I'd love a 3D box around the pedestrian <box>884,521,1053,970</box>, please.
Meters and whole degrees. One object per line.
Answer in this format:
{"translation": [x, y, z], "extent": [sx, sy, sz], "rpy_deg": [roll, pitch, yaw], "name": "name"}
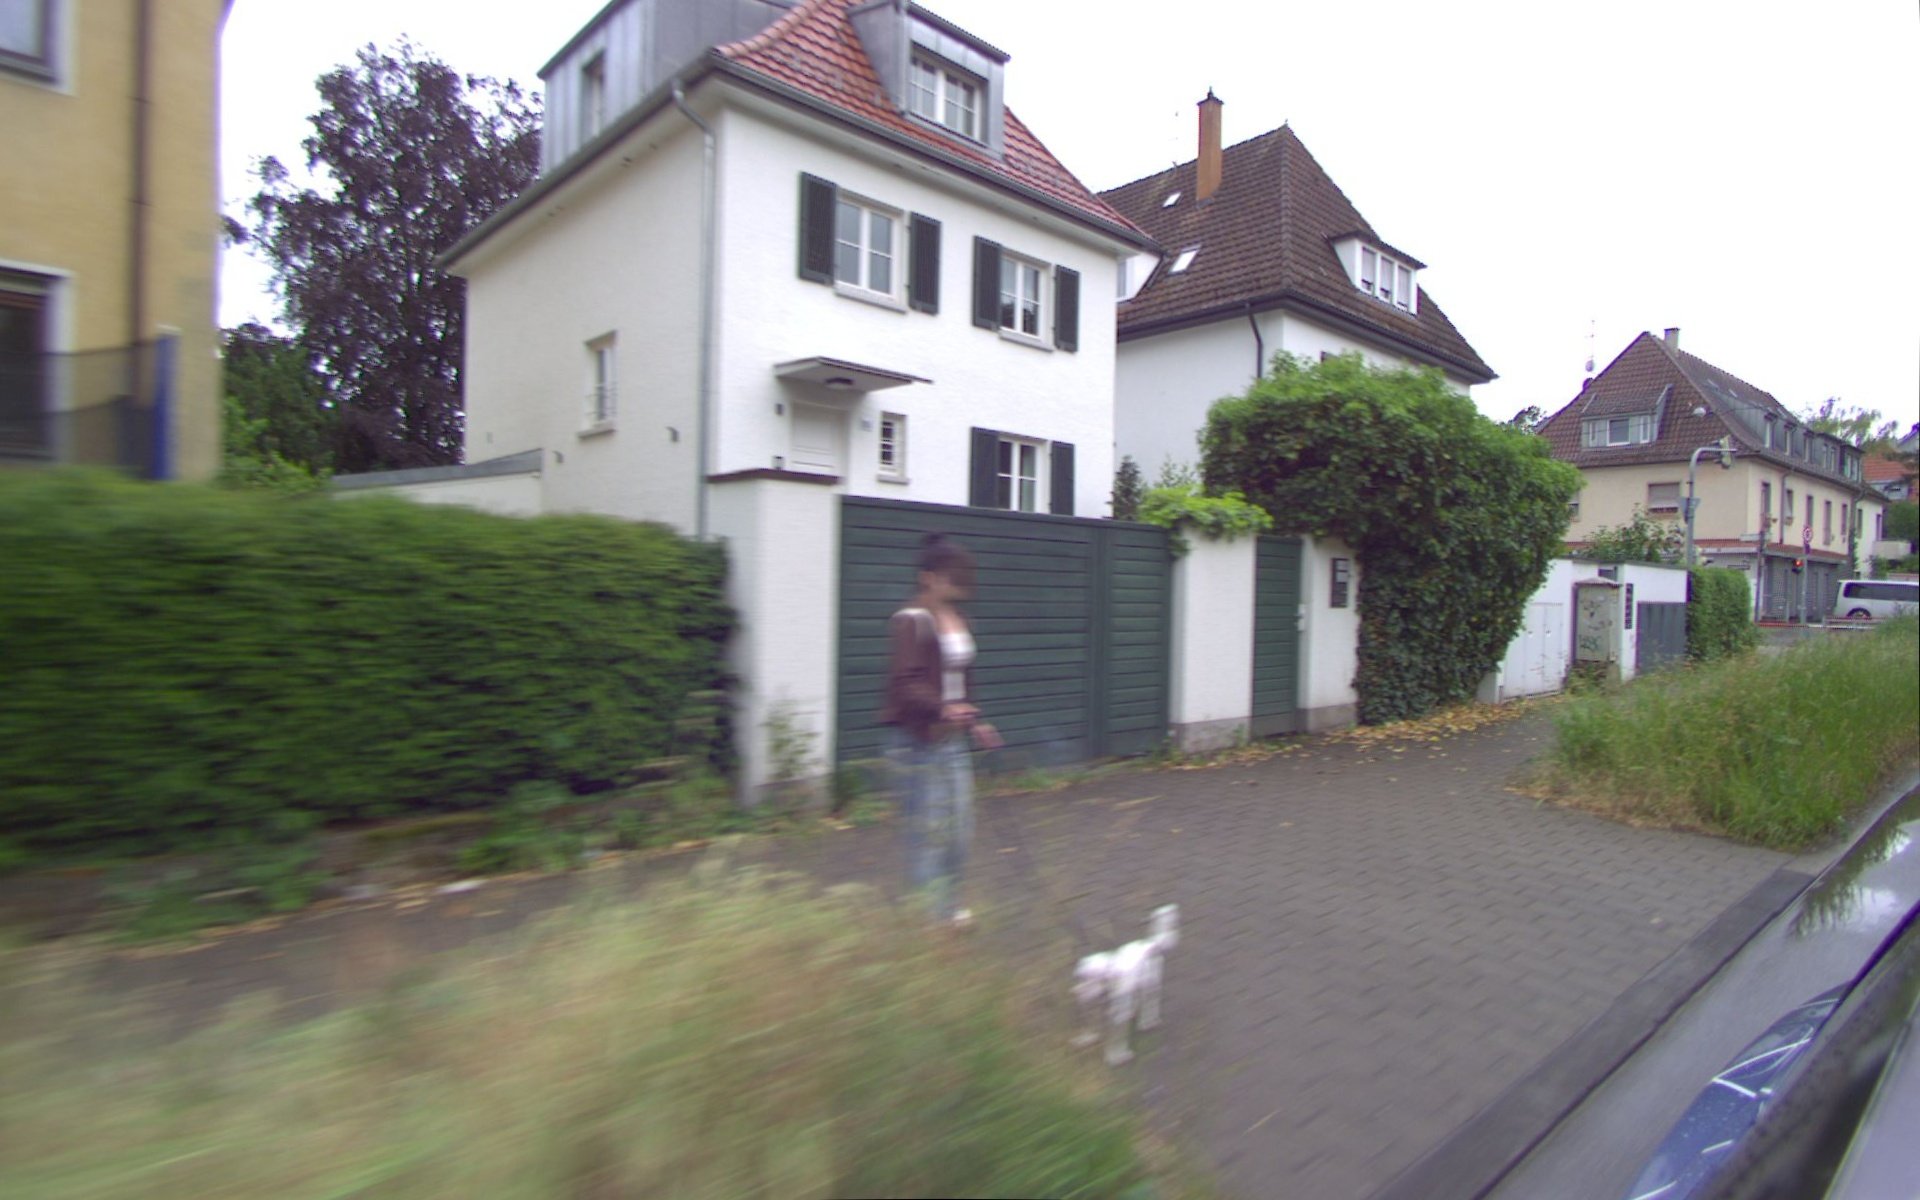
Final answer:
{"translation": [0.031, 0.501, 3.827], "extent": [0.432, 1.553, 0.482], "rpy_deg": [0, -1, -44], "name": "pedestrian"}
